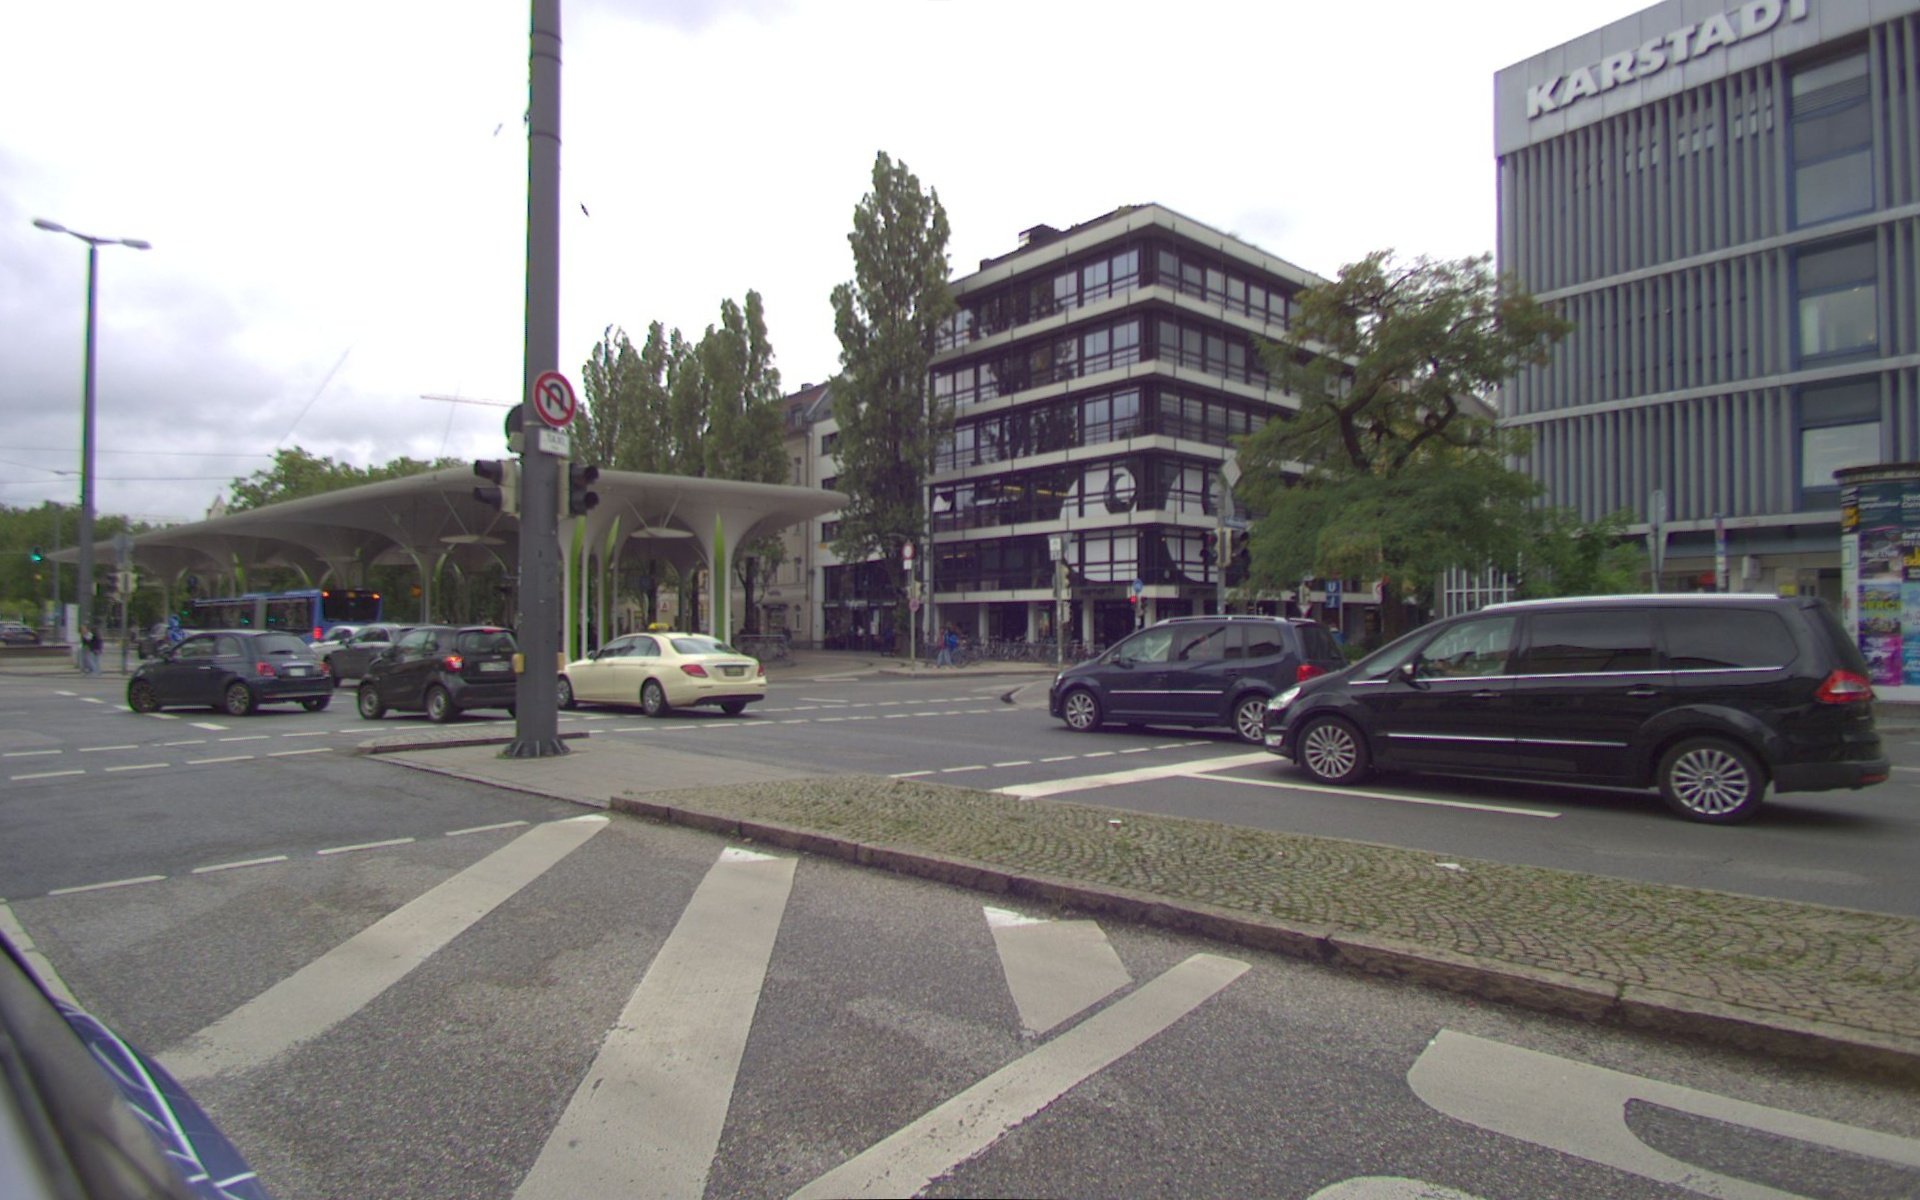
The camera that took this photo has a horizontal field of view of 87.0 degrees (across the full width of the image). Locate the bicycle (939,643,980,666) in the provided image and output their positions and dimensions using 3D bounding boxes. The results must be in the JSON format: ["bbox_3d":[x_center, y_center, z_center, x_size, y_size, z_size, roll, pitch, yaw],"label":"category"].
[{"bbox_3d":[-0.037,2.287,42.661,1.707,0.946,0.455,1,-1,0],"label":"bicycle"}]

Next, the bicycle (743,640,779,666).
[{"bbox_3d":[-9.018,2.388,45.825,0.645,1.127,2.186,1,-2,-39],"label":"bicycle"}]

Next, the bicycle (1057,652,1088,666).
[{"bbox_3d":[5.291,2.759,47.552,1.607,0.637,0.364,1,-2,-35],"label":"bicycle"}]

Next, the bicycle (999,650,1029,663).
[{"bbox_3d":[2.711,2.834,50.662,1.607,0.637,0.364,1,-2,-35],"label":"bicycle"}]

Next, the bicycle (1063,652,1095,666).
[{"bbox_3d":[5.561,2.752,47.164,1.607,0.637,0.430,1,-2,-35],"label":"bicycle"}]

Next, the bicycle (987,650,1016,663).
[{"bbox_3d":[2.117,2.851,51.336,1.607,0.637,0.364,1,-2,-35],"label":"bicycle"}]

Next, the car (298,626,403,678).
[{"bbox_3d":[-19.897,1.664,32.982,3.996,1.608,1.681,-2,-2,39],"label":"car"}]

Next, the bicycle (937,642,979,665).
[{"bbox_3d":[-0.090,2.288,43.314,1.704,0.946,0.456,1,-1,-8],"label":"bicycle"}]

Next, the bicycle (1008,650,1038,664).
[{"bbox_3d":[3.114,2.822,50.190,1.607,0.637,0.364,1,-2,-35],"label":"bicycle"}]

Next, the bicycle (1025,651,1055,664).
[{"bbox_3d":[3.895,2.800,49.268,1.607,0.637,0.364,1,-2,-35],"label":"bicycle"}]

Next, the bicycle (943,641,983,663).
[{"bbox_3d":[0.140,2.280,44.456,1.704,0.946,0.456,1,-1,-8],"label":"bicycle"}]

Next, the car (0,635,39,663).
[{"bbox_3d":[-53.672,2.779,57.219,4.276,1.520,1.648,-3,-5,39],"label":"car"}]

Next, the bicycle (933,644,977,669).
[{"bbox_3d":[-0.202,2.293,40.993,1.719,0.946,0.452,0,-2,21],"label":"bicycle"}]

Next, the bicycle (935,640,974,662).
[{"bbox_3d":[-0.272,2.292,45.632,1.704,0.946,0.455,1,-1,-6],"label":"bicycle"}]

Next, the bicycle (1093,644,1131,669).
[{"bbox_3d":[6.757,2.514,45.111,1.611,1.082,0.429,0,-2,-1],"label":"bicycle"}]

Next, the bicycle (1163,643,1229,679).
[{"bbox_3d":[7.351,1.901,31.588,1.985,1.005,0.521,1,-1,41],"label":"bicycle"}]

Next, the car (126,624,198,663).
[{"bbox_3d":[-35.478,1.913,44.984,3.997,1.674,1.764,-2,-2,41],"label":"car"}]

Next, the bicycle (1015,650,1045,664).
[{"bbox_3d":[3.432,2.813,49.743,1.607,0.637,0.364,1,-2,-35],"label":"bicycle"}]

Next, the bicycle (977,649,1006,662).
[{"bbox_3d":[1.630,2.865,52.007,1.607,0.637,0.364,1,-2,-35],"label":"bicycle"}]

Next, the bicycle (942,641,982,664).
[{"bbox_3d":[0.084,2.282,43.913,1.704,0.946,0.456,1,-1,-8],"label":"bicycle"}]

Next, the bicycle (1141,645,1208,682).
[{"bbox_3d":[6.505,1.927,30.798,1.985,1.005,0.521,1,-1,41],"label":"bicycle"}]

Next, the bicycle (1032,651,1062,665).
[{"bbox_3d":[4.207,2.791,48.955,1.607,0.637,0.364,1,-2,-35],"label":"bicycle"}]

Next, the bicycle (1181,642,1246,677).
[{"bbox_3d":[8.074,1.890,32.309,1.985,1.005,0.521,1,-1,41],"label":"bicycle"}]

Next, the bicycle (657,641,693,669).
[{"bbox_3d":[-12.211,2.326,43.249,0.633,1.133,2.169,1,-2,-40],"label":"bicycle"}]

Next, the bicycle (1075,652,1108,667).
[{"bbox_3d":[6.061,2.737,46.573,1.607,0.637,0.430,1,-2,-35],"label":"bicycle"}]

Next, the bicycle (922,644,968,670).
[{"bbox_3d":[-0.594,2.198,38.930,1.718,0.946,0.452,0,-2,20],"label":"bicycle"}]

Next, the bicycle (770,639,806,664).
[{"bbox_3d":[-7.942,2.355,46.649,0.645,1.127,2.186,1,-2,-39],"label":"bicycle"}]

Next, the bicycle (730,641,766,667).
[{"bbox_3d":[-9.539,2.403,45.415,0.645,1.127,2.186,1,-2,-39],"label":"bicycle"}]

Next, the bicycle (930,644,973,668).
[{"bbox_3d":[-0.362,2.298,41.537,1.717,0.946,0.452,0,-1,19],"label":"bicycle"}]

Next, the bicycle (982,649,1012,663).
[{"bbox_3d":[1.903,2.857,51.677,1.607,0.637,0.364,1,-2,-35],"label":"bicycle"}]

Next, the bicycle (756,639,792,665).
[{"bbox_3d":[-8.494,2.372,46.216,0.645,1.127,2.186,1,-2,-39],"label":"bicycle"}]

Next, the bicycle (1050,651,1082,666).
[{"bbox_3d":[5.029,2.767,47.912,1.607,0.637,0.430,1,-2,-35],"label":"bicycle"}]

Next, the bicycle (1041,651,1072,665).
[{"bbox_3d":[4.624,2.779,48.377,1.607,0.637,0.364,1,-2,-35],"label":"bicycle"}]
